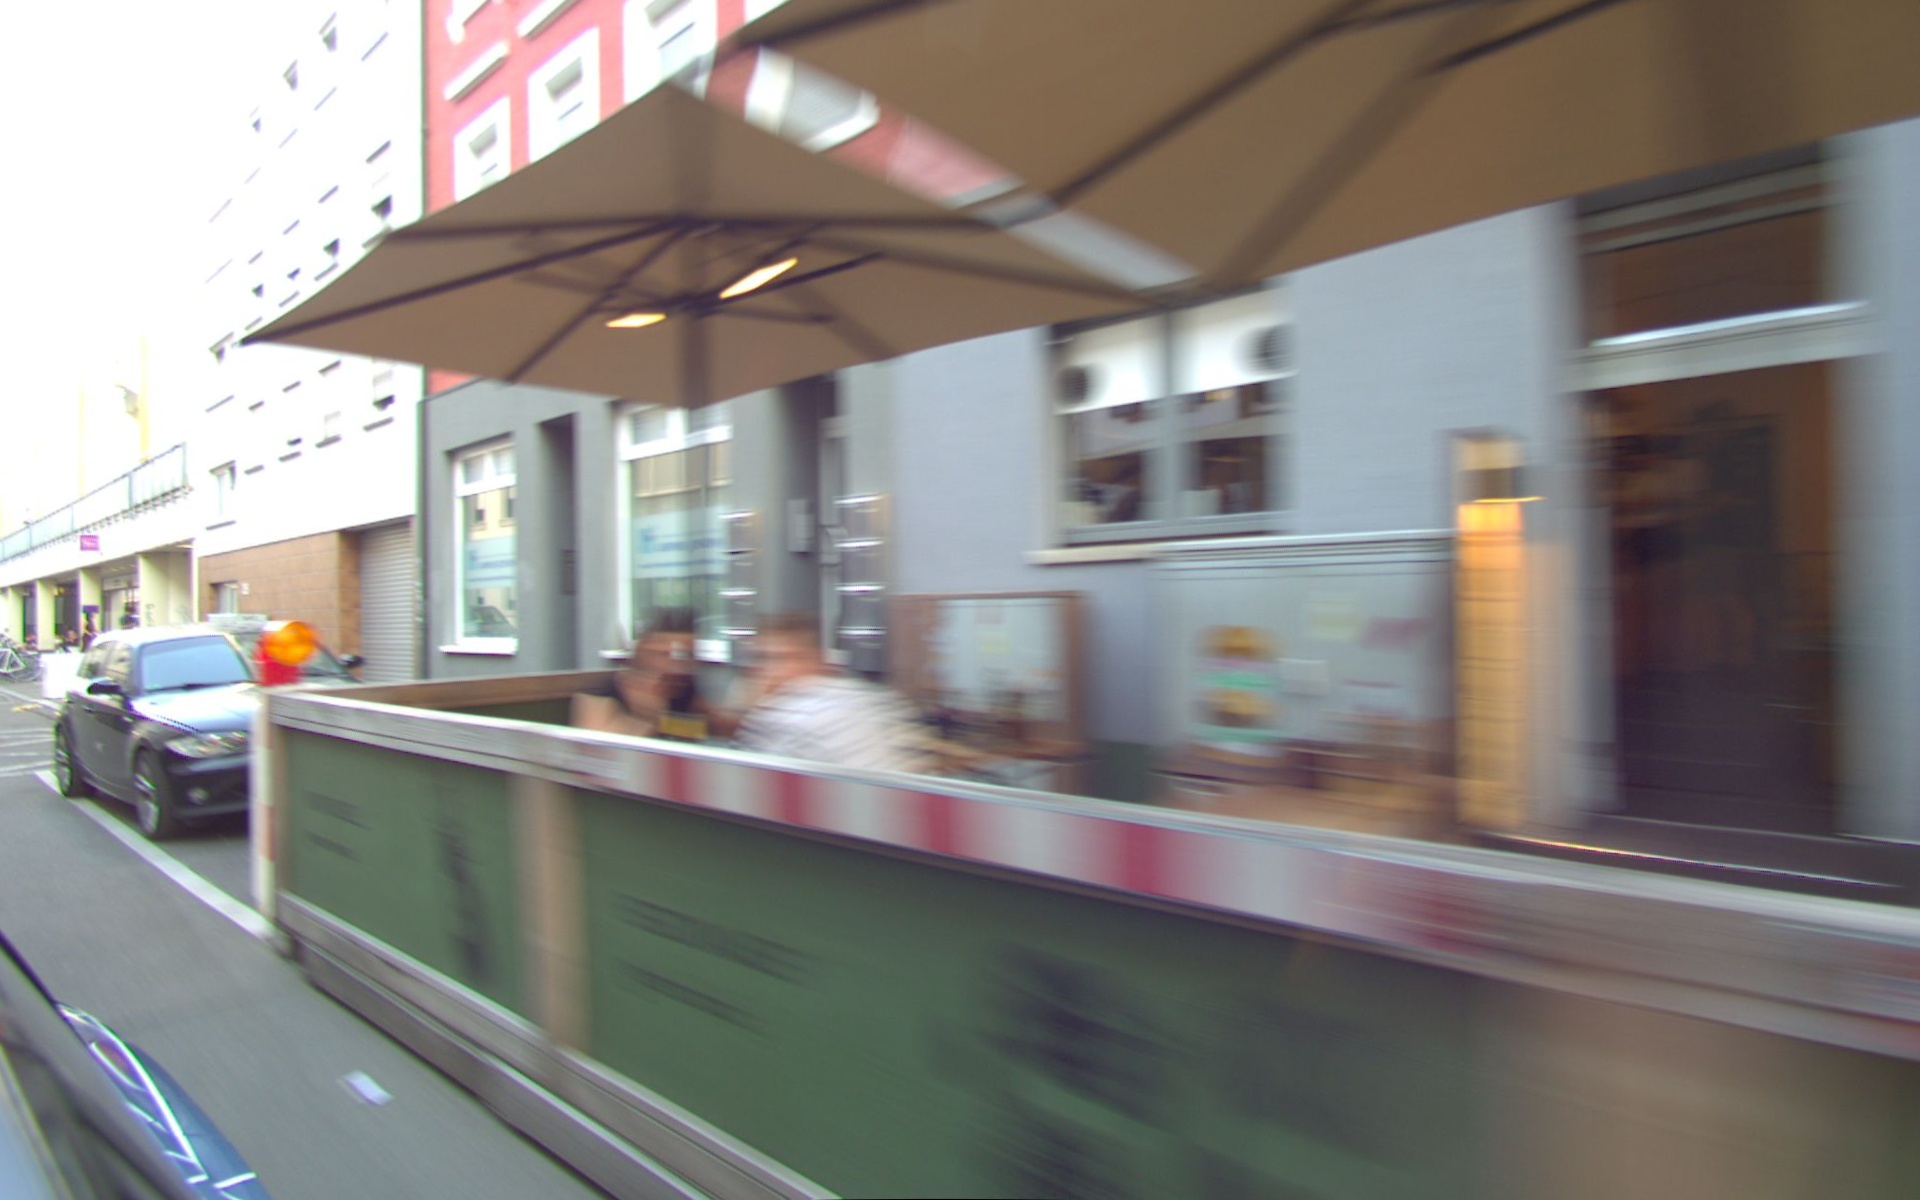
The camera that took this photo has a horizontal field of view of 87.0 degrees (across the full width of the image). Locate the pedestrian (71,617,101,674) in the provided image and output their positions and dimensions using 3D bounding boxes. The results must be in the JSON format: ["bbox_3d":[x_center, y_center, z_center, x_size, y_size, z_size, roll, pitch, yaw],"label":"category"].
[{"bbox_3d":[-26.155,1.361,30.304,0.632,1.675,0.719,-1,-1,-39],"label":"pedestrian"}]

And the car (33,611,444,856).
[{"bbox_3d":[-5.983,0.882,8.201,4.131,1.471,1.700,-2,-1,39],"label":"car"}]

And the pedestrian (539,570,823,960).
[{"bbox_3d":[-0.869,0.453,3.214,0.546,1.071,0.665,-1,0,33],"label":"pedestrian"}]

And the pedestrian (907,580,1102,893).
[{"bbox_3d":[0.174,0.456,3.746,0.491,1.045,0.553,-1,0,33],"label":"pedestrian"}]

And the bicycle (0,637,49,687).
[{"bbox_3d":[-24.481,1.583,25.360,2.446,1.187,0.785,-1,0,-43],"label":"bicycle"}]

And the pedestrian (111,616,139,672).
[{"bbox_3d":[-25.649,1.349,31.084,0.632,1.675,0.719,-1,-1,-39],"label":"pedestrian"}]

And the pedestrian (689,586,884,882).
[{"bbox_3d":[-0.666,0.473,3.942,0.491,1.045,0.553,-1,0,33],"label":"pedestrian"}]

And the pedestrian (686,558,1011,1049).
[{"bbox_3d":[-0.273,0.447,2.640,0.559,1.075,0.627,-1,0,33],"label":"pedestrian"}]

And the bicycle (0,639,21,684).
[{"bbox_3d":[-26.951,1.705,27.235,2.446,1.187,0.785,-1,0,-43],"label":"bicycle"}]

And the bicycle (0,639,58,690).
[{"bbox_3d":[-23.755,1.615,24.779,2.446,1.187,0.785,-1,0,-43],"label":"bicycle"}]

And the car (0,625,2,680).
[{"bbox_3d":[-31.623,1.680,31.682,4.456,1.689,1.973,-2,-1,41],"label":"car"}]

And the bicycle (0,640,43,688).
[{"bbox_3d":[-25.173,1.670,25.933,2.446,1.187,0.785,-1,0,-43],"label":"bicycle"}]
